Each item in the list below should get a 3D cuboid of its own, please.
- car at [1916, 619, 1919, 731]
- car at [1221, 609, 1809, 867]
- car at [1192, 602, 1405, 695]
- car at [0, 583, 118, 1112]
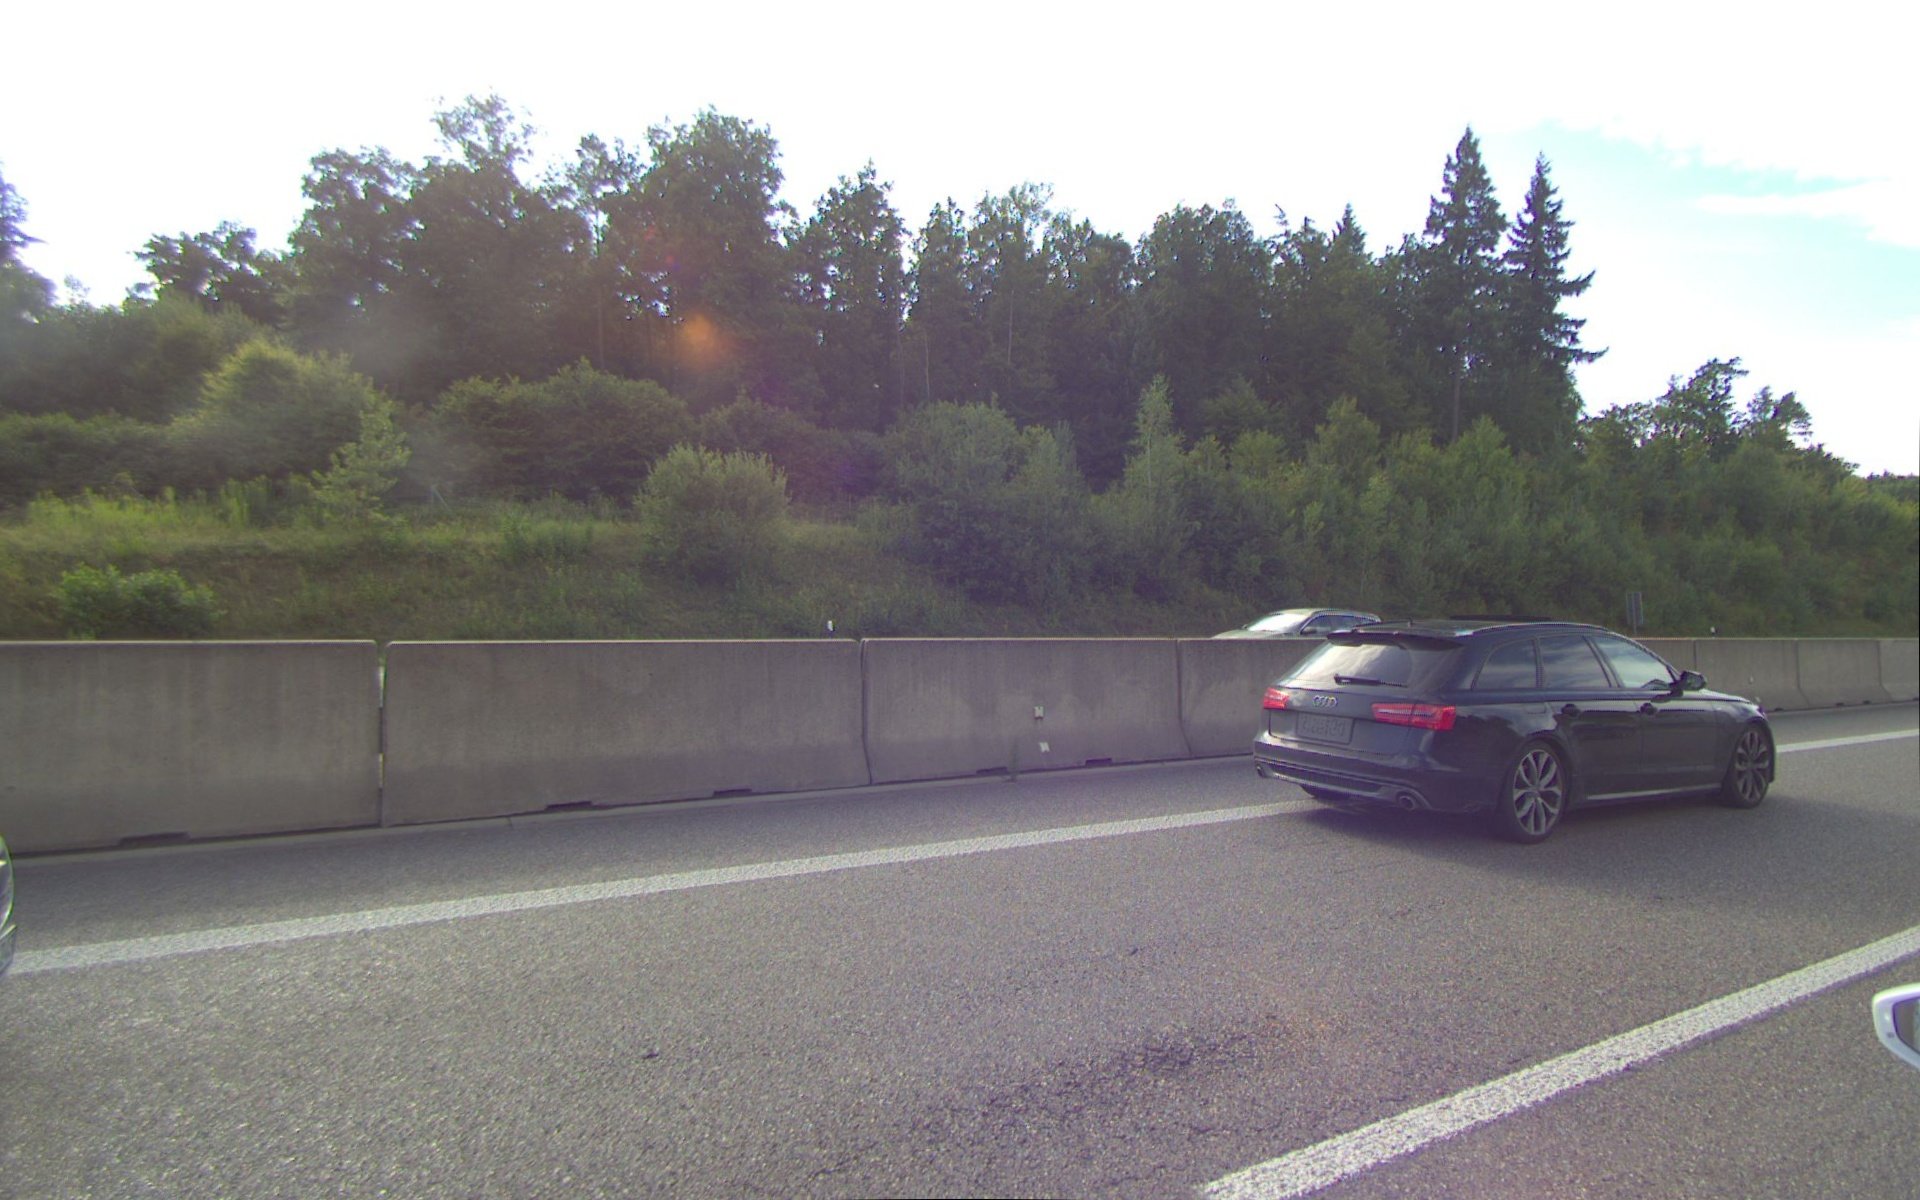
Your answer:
[{"bbox_3d":[15.010,1.054,13.597,4.255,1.480,1.797,2,-1,-29],"label":"car"},{"bbox_3d":[4.435,0.855,7.837,4.690,1.475,1.834,1,0,-30],"label":"car"},{"bbox_3d":[7.436,1.012,21.964,4.570,1.834,1.843,1,0,-30],"label":"car"},{"bbox_3d":[-4.597,0.672,2.150,3.993,1.485,1.739,1,-1,-30],"label":"car"}]
